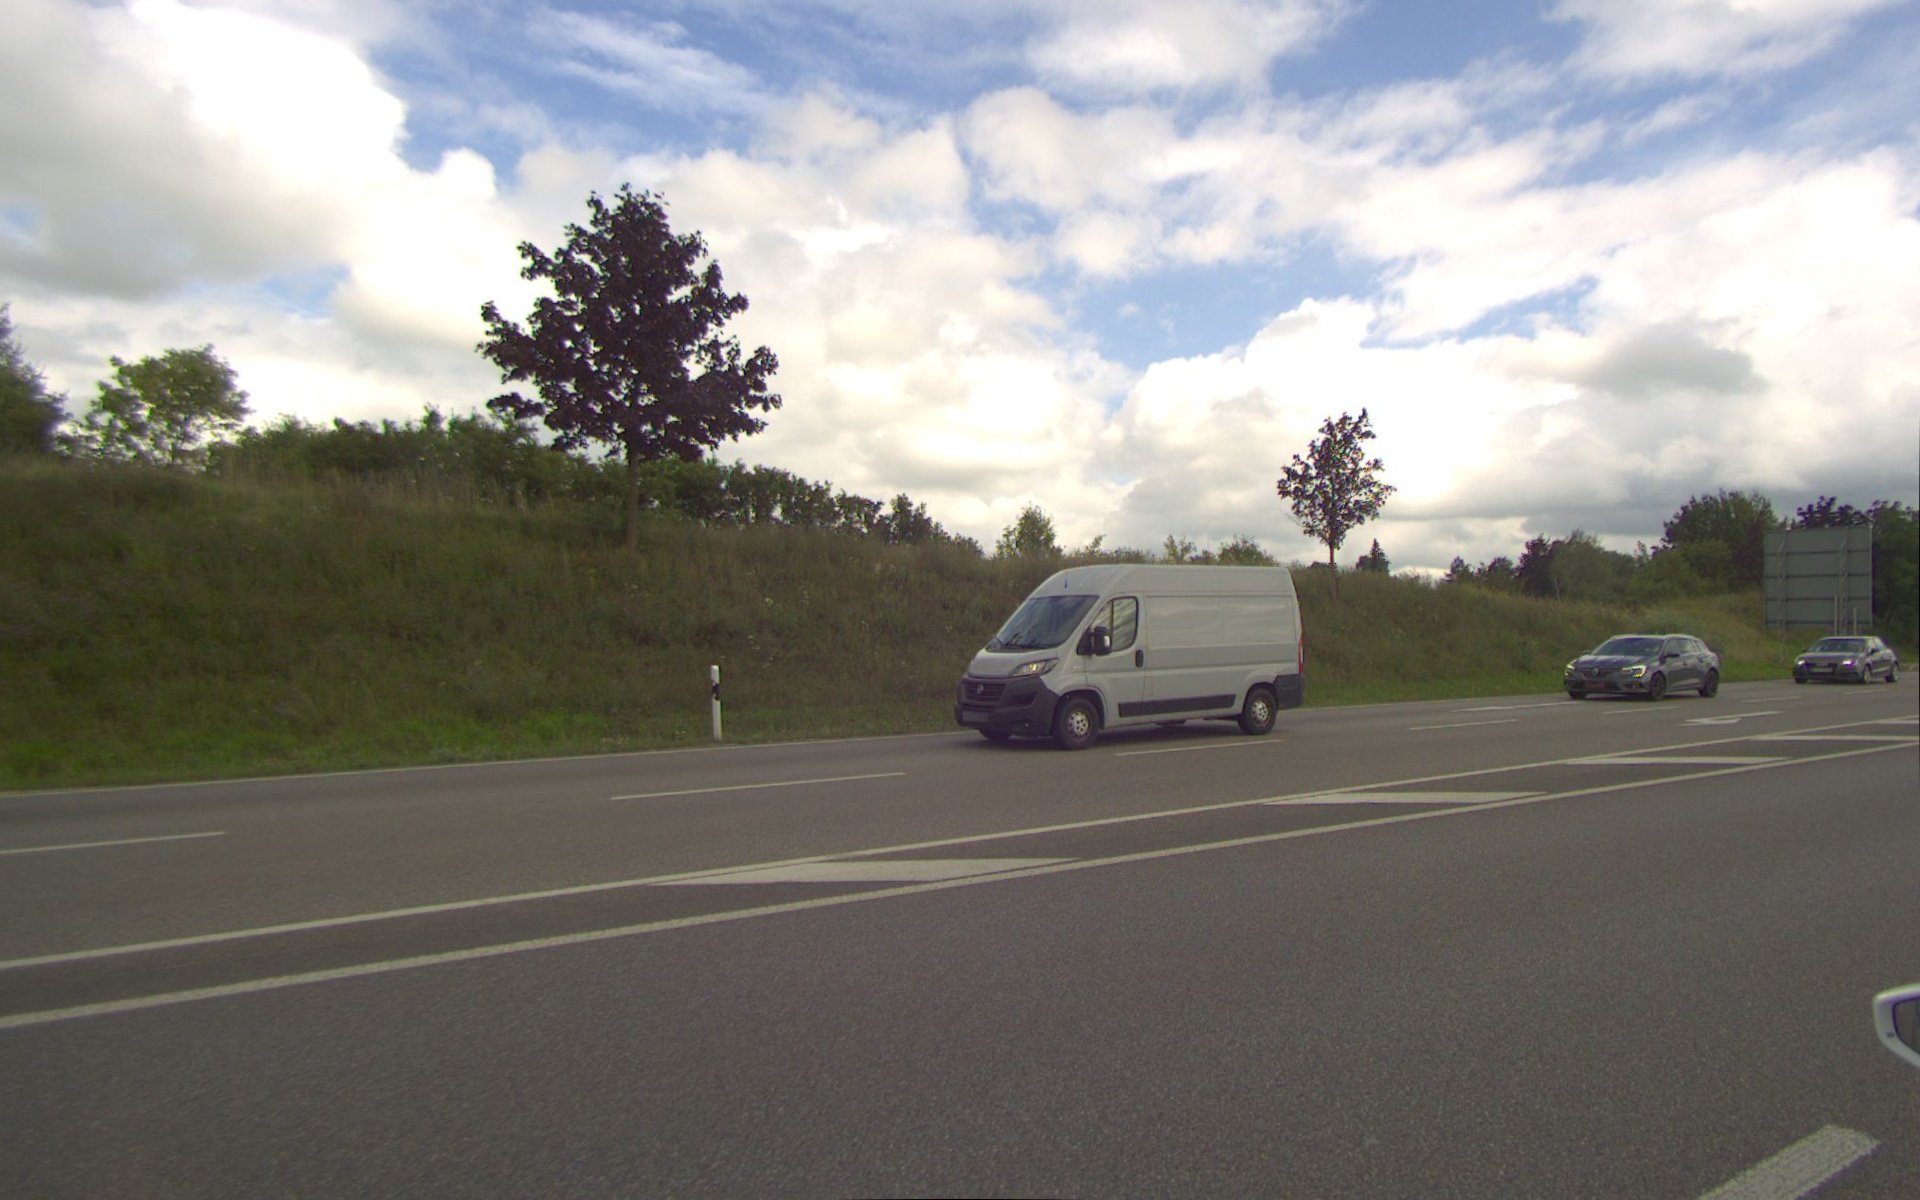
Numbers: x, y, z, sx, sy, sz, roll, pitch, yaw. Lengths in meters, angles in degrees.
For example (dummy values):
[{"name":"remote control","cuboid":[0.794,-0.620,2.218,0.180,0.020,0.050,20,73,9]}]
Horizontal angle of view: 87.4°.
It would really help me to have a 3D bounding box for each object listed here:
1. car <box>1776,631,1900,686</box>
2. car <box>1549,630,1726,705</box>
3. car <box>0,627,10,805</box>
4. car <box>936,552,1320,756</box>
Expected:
[{"name":"car","cuboid":[26.648,1.716,30.453,4.148,1.550,1.723,1,-2,-32]},{"name":"car","cuboid":[15.654,1.493,23.149,4.498,1.550,1.723,1,-2,-32]},{"name":"car","cuboid":[-9.755,0.964,7.073,4.147,1.550,1.723,1,-2,-32]},{"name":"car","cuboid":[2.556,0.723,14.568,5.573,2.471,2.022,1,-2,-32]}]
